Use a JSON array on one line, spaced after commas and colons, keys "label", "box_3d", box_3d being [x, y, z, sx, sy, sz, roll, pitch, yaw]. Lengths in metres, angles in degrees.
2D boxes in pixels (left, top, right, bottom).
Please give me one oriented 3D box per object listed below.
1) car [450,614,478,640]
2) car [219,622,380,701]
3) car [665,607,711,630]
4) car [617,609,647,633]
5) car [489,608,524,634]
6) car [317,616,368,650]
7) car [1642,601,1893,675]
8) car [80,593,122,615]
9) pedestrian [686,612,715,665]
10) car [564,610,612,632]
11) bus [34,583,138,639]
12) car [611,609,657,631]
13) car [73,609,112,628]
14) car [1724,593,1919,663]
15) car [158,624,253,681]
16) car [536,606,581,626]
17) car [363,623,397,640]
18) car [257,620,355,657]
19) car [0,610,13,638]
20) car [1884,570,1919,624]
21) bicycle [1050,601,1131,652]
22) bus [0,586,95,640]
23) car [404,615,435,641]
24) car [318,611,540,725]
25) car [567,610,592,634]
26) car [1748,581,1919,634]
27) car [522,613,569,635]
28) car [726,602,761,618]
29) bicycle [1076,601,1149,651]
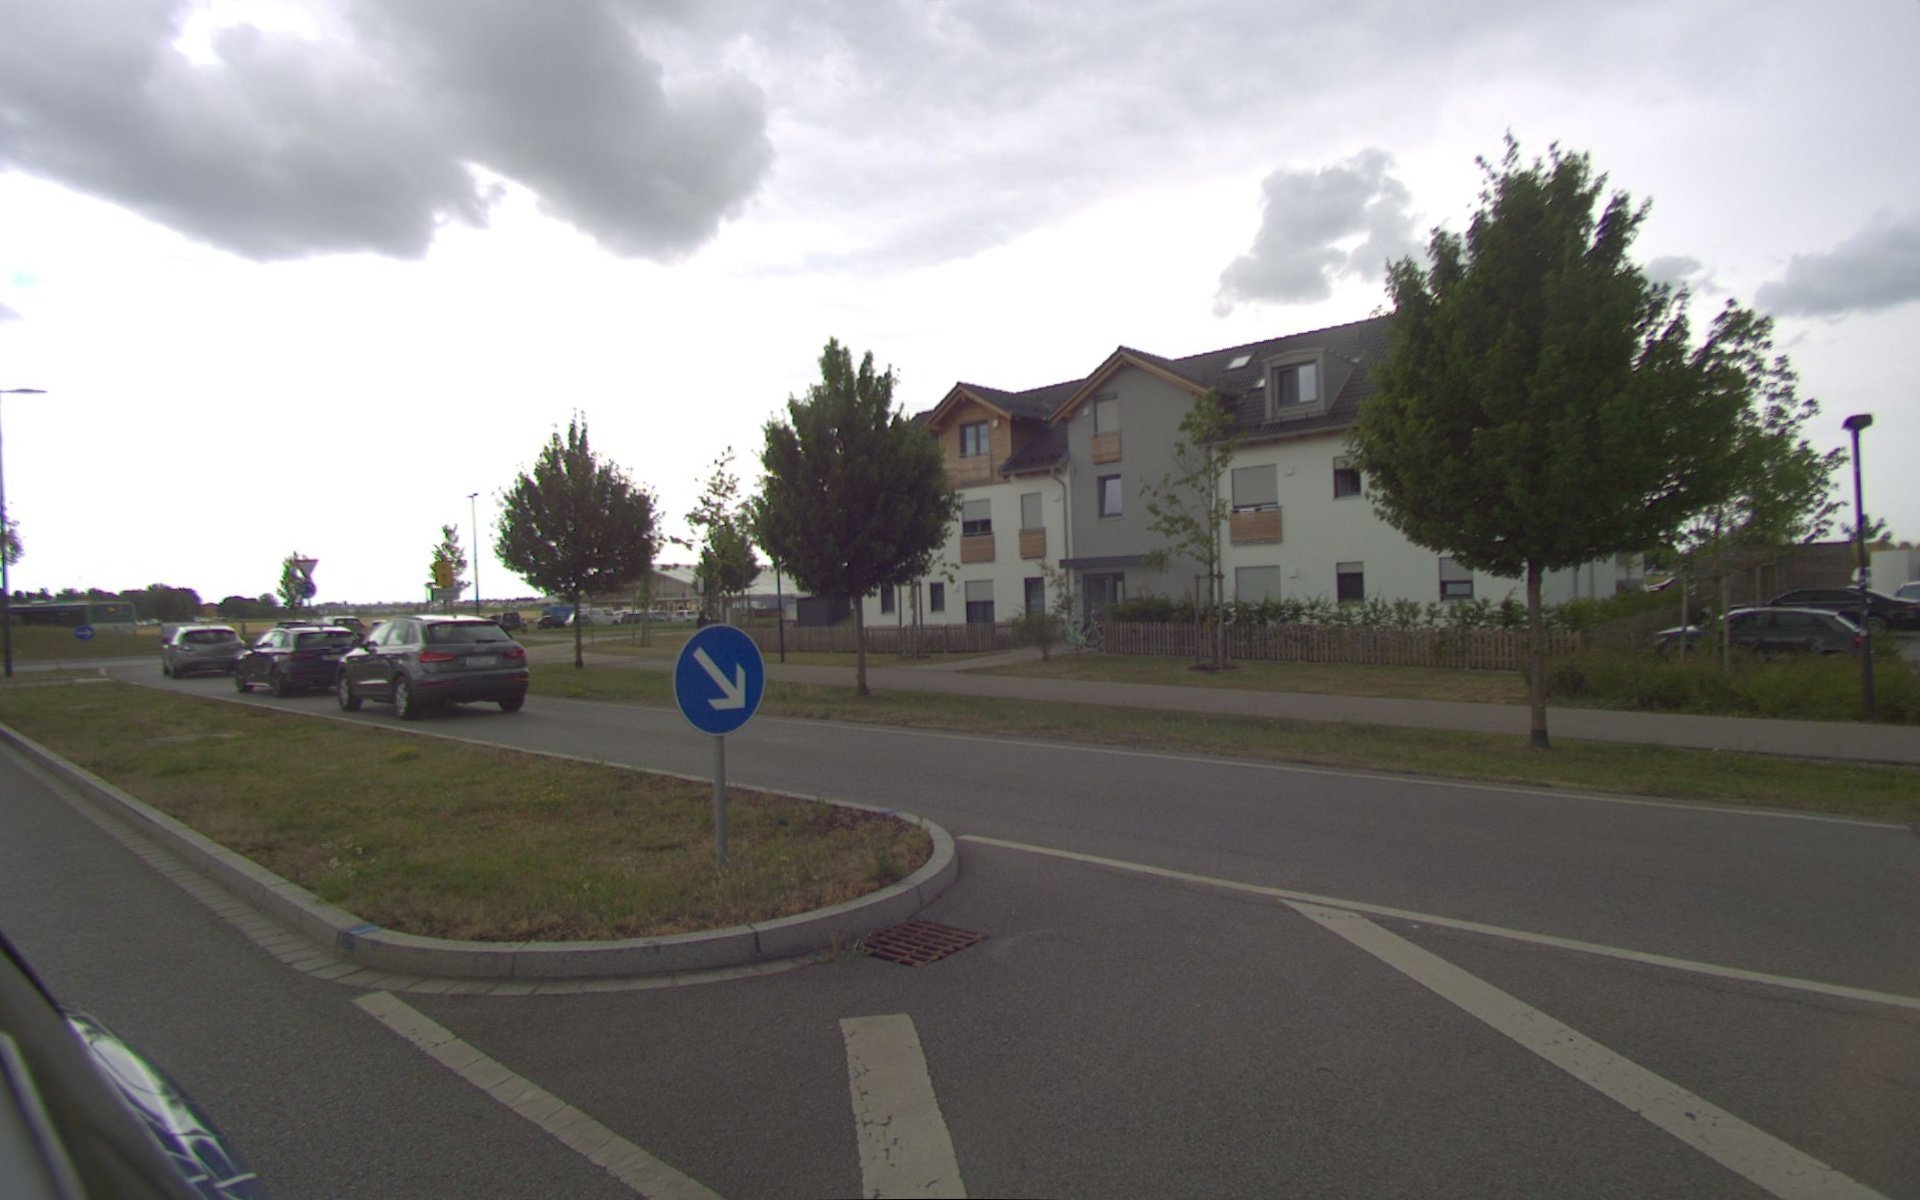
[{"label": "car", "box_3d": [-40.686, 2.237, 83.071, 1.965, 2.029, 4.013, -1, -1, -25]}, {"label": "car", "box_3d": [-14.246, 1.269, 21.740, 4.348, 1.500, 1.806, -2, -1, 41]}, {"label": "car", "box_3d": [-25.485, 1.720, 94.943, 1.991, 2.029, 3.961, -2, -1, 28]}, {"label": "car", "box_3d": [-29.003, 1.832, 89.412, 2.194, 2.029, 4.013, -1, -1, -21]}, {"label": "car", "box_3d": [-37.627, 1.751, 83.889, 1.967, 2.029, 4.010, 0, -1, -34]}, {"label": "car", "box_3d": [-33.566, 1.750, 54.948, 1.802, 1.735, 4.408, 0, 0, -39]}, {"label": "car", "box_3d": [17.049, 0.789, 21.527, 3.998, 1.431, 1.856, -2, -1, 41]}, {"label": "car", "box_3d": [-61.681, 0.300, 72.626, 3.998, 1.454, 1.752, -2, -1, 41]}, {"label": "pedestrian", "box_3d": [-7.862, 1.166, 30.716, 0.586, 1.541, 0.540, -2, 1, 41]}, {"label": "car", "box_3d": [-36.000, 1.991, 98.072, 1.994, 2.029, 3.956, -2, -1, 32]}, {"label": "bus", "box_3d": [-54.143, 0.722, 62.651, 6.458, 3.305, 2.963, -2, -1, 30]}, {"label": "car", "box_3d": [-31.285, 1.880, 97.312, 1.991, 2.029, 3.961, -2, -1, 28]}, {"label": "car", "box_3d": [-67.891, 1.450, 79.174, 3.998, 1.454, 1.752, -2, -1, 41]}, {"label": "car", "box_3d": [20.630, 0.652, 23.904, 3.998, 1.519, 1.973, -2, -1, 41]}, {"label": "car", "box_3d": [-22.088, 1.490, 29.577, 1.804, 1.500, 4.220, 0, -1, -43]}, {"label": "car", "box_3d": [-41.081, 1.614, 103.633, 1.991, 2.029, 3.961, -2, -1, 28]}, {"label": "car", "box_3d": [-46.135, 2.473, 80.509, 1.965, 1.298, 4.013, -1, -1, -25]}, {"label": "car", "box_3d": [-28.104, 1.614, 43.647, 1.803, 1.500, 4.343, -1, -1, -7]}, {"label": "car", "box_3d": [-58.511, 1.450, 59.827, 1.967, 1.697, 4.010, -1, -1, -12]}, {"label": "car", "box_3d": [30.186, -0.106, 31.544, 2.000, 1.598, 3.943, -2, -1, 43]}, {"label": "bicycle", "box_3d": [3.767, 0.785, 29.418, 2.342, 1.423, 0.675, -2, -1, 41]}, {"label": "bus", "box_3d": [-59.778, 0.872, 66.109, 6.675, 3.305, 2.963, -2, -1, 30]}, {"label": "car", "box_3d": [-43.699, 2.280, 81.910, 1.965, 2.029, 4.013, -1, -1, -25]}, {"label": "car", "box_3d": [-8.720, 1.024, 16.460, 4.214, 1.594, 1.806, -2, -1, 41]}, {"label": "car", "box_3d": [-33.424, 1.913, 88.760, 1.965, 2.029, 4.013, -1, -1, -21]}, {"label": "car", "box_3d": [25.624, 0.231, 29.570, 3.998, 1.431, 1.856, -2, -1, 41]}, {"label": "car", "box_3d": [-40.361, 2.312, 98.608, 1.991, 2.029, 3.961, -2, -1, 28]}, {"label": "car", "box_3d": [-27.642, 1.286, 129.403, 1.991, 2.029, 4.523, -2, -1, 28]}, {"label": "bicycle", "box_3d": [4.479, 0.767, 29.859, 2.093, 1.428, 0.675, -2, -1, 41]}]
